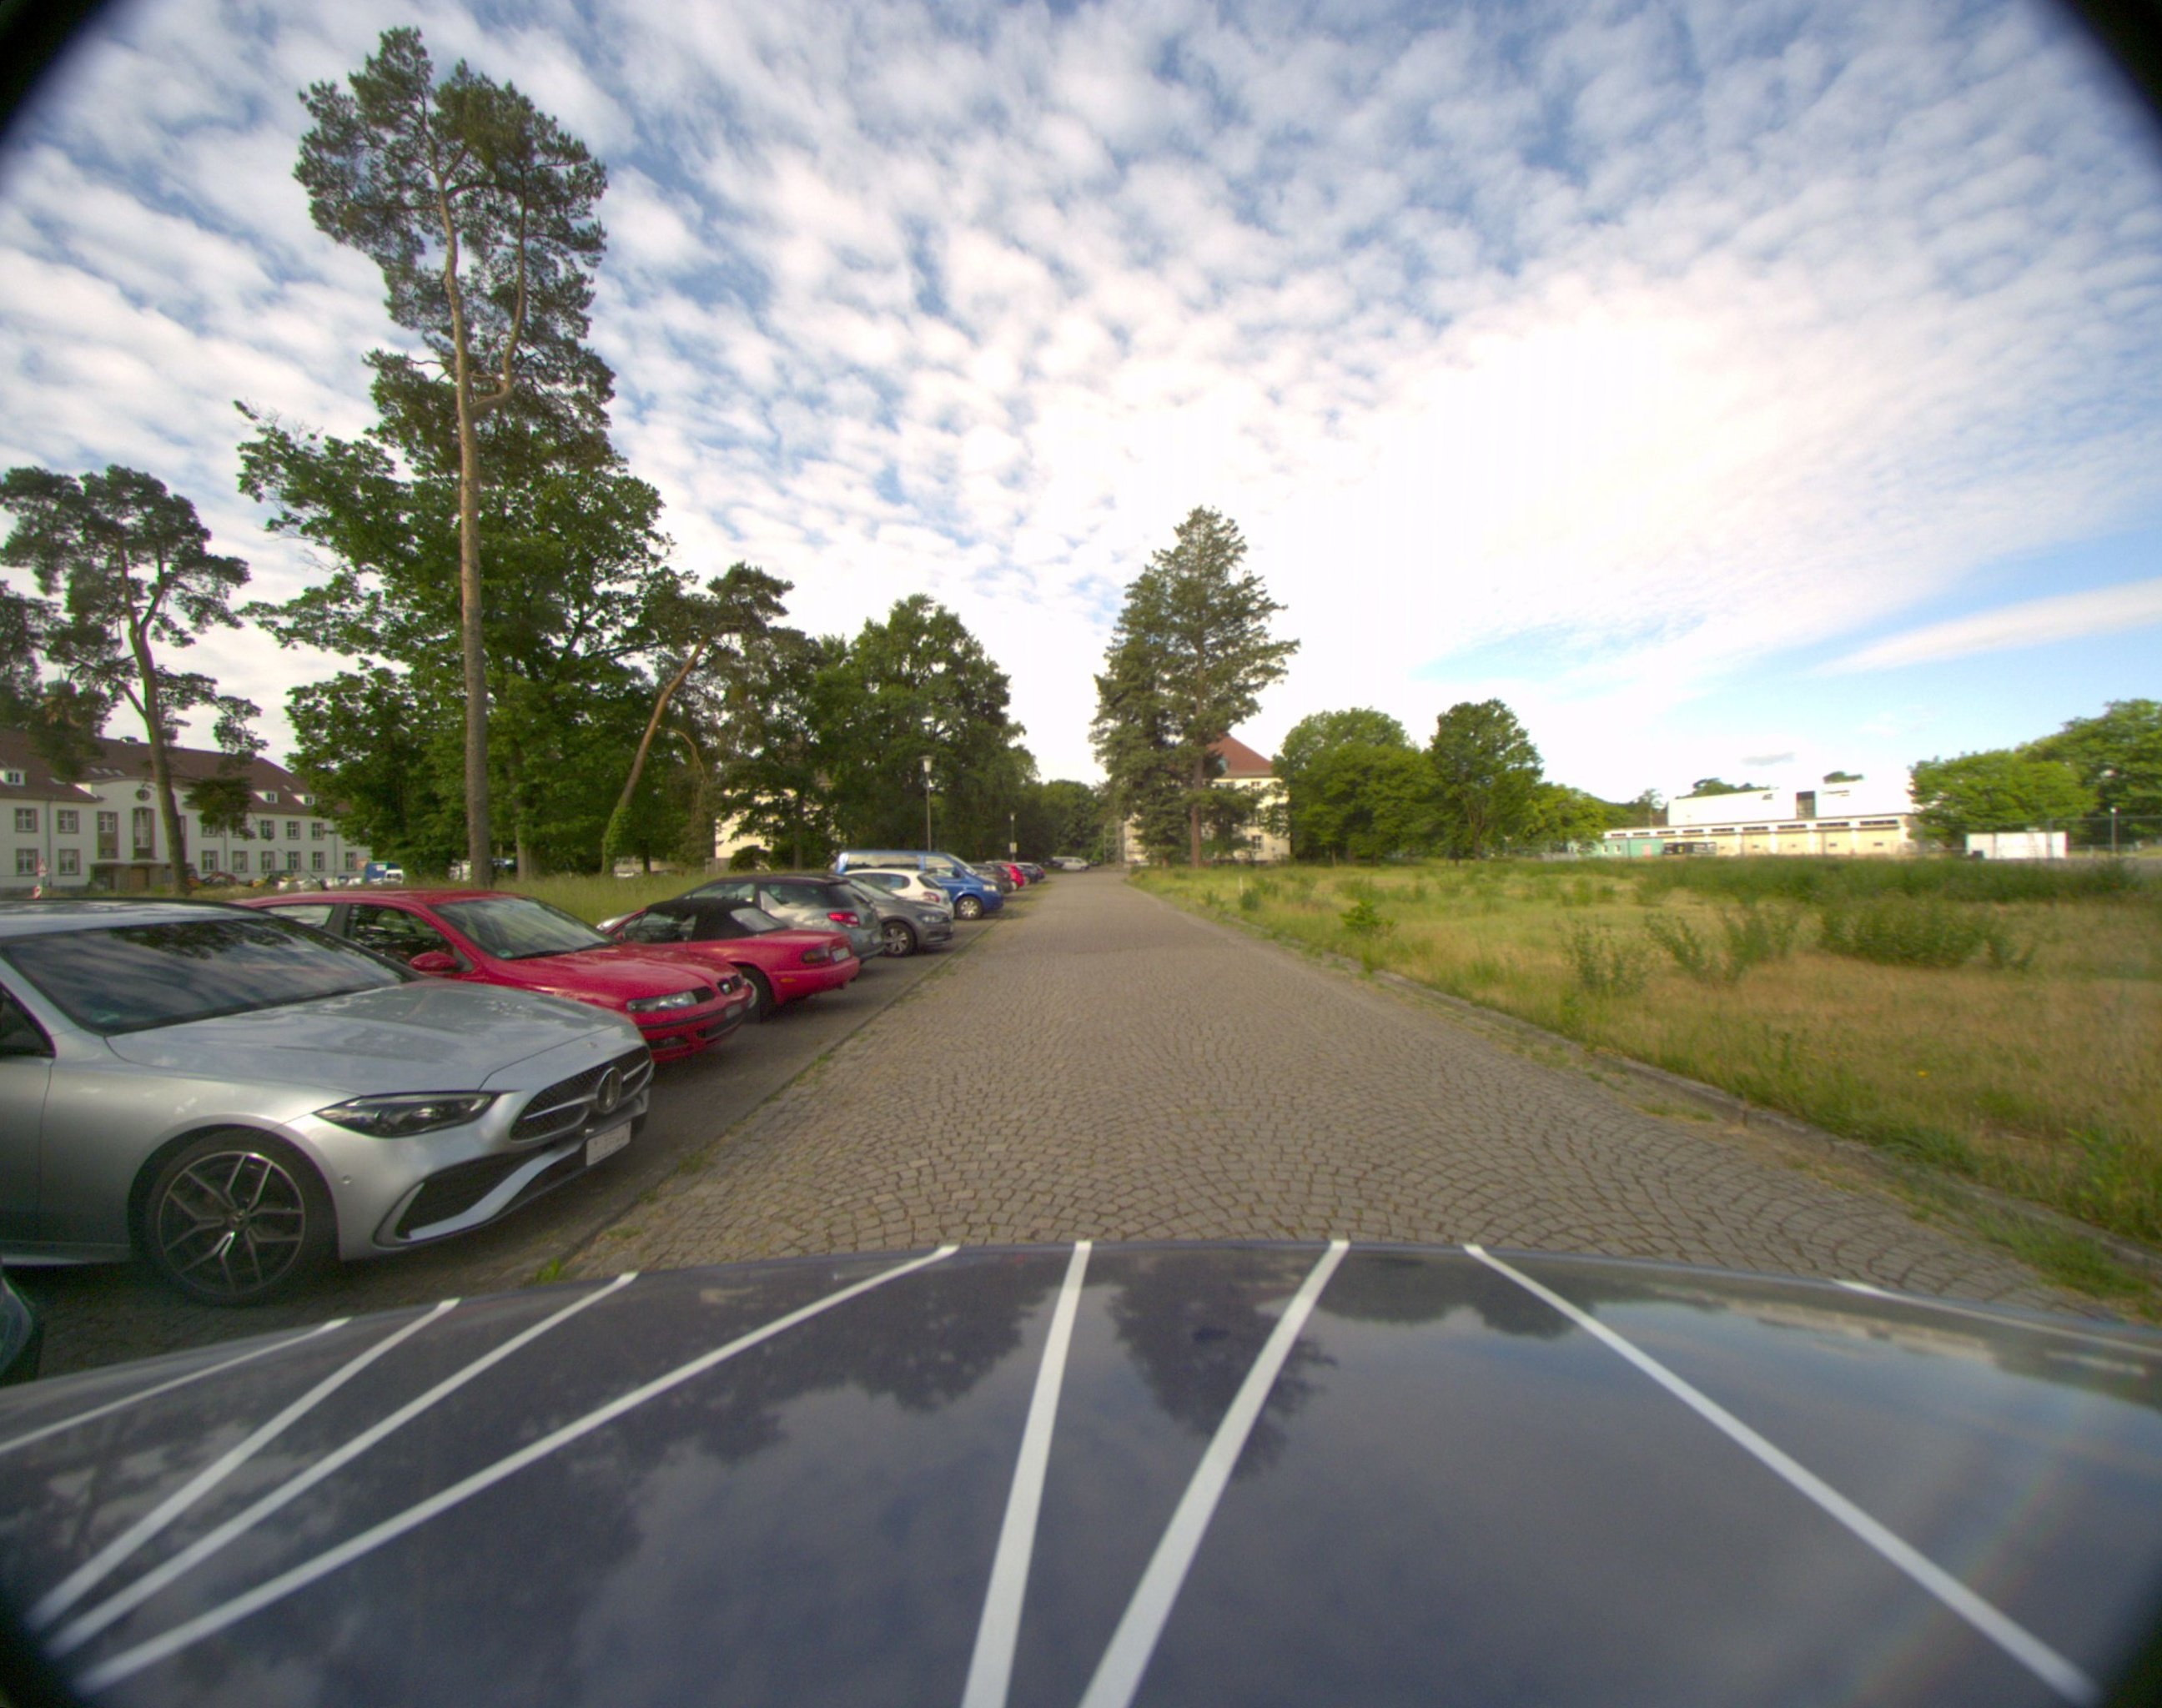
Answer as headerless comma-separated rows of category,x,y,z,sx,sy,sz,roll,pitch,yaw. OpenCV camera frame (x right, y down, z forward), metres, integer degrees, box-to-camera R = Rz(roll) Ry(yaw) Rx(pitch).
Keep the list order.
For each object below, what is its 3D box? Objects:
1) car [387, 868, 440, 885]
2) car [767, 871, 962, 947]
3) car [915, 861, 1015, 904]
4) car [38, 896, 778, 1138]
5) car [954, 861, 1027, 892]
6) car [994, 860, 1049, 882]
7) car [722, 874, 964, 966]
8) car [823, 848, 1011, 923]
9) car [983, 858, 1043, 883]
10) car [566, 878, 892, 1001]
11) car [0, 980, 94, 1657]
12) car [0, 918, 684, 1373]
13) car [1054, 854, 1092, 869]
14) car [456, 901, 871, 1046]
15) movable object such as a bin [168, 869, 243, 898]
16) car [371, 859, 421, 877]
car,-68.399,2.272,77.984,1.847,1.674,3.937,0,0,3
car,-4.630,1.168,16.586,3.761,1.490,1.581,-1,0,2
car,-4.615,1.122,30.655,3.839,1.592,1.581,-1,0,-4
car,-4.749,1.115,5.830,4.118,1.415,1.719,-1,0,0
car,-4.843,1.190,41.017,3.839,1.516,1.580,-1,0,-4
car,-4.392,1.242,56.216,3.836,1.520,1.674,-1,0,4
car,-4.160,1.142,13.652,3.781,1.457,1.643,-1,0,2
car,-4.621,0.863,22.011,4.954,2.011,2.060,1,0,1
car,-4.587,1.114,51.450,3.836,1.609,1.582,-1,0,4
car,-4.814,1.146,10.782,3.838,1.494,1.604,-1,0,0
car,-4.637,1.085,0.829,4.525,1.474,1.807,-1,0,-3
car,-4.475,1.098,3.498,4.337,1.420,1.766,0,0,-1
car,-1.145,1.037,104.909,5.130,2.002,1.804,-1,0,-2
car,-4.268,1.207,8.157,3.555,1.279,1.608,-1,-1,1
movable object such as a bin,-91.047,3.042,79.124,1.999,2.752,5.201,-1,0,-5
car,-81.957,1.614,90.983,2.217,2.002,4.001,-1,0,5
